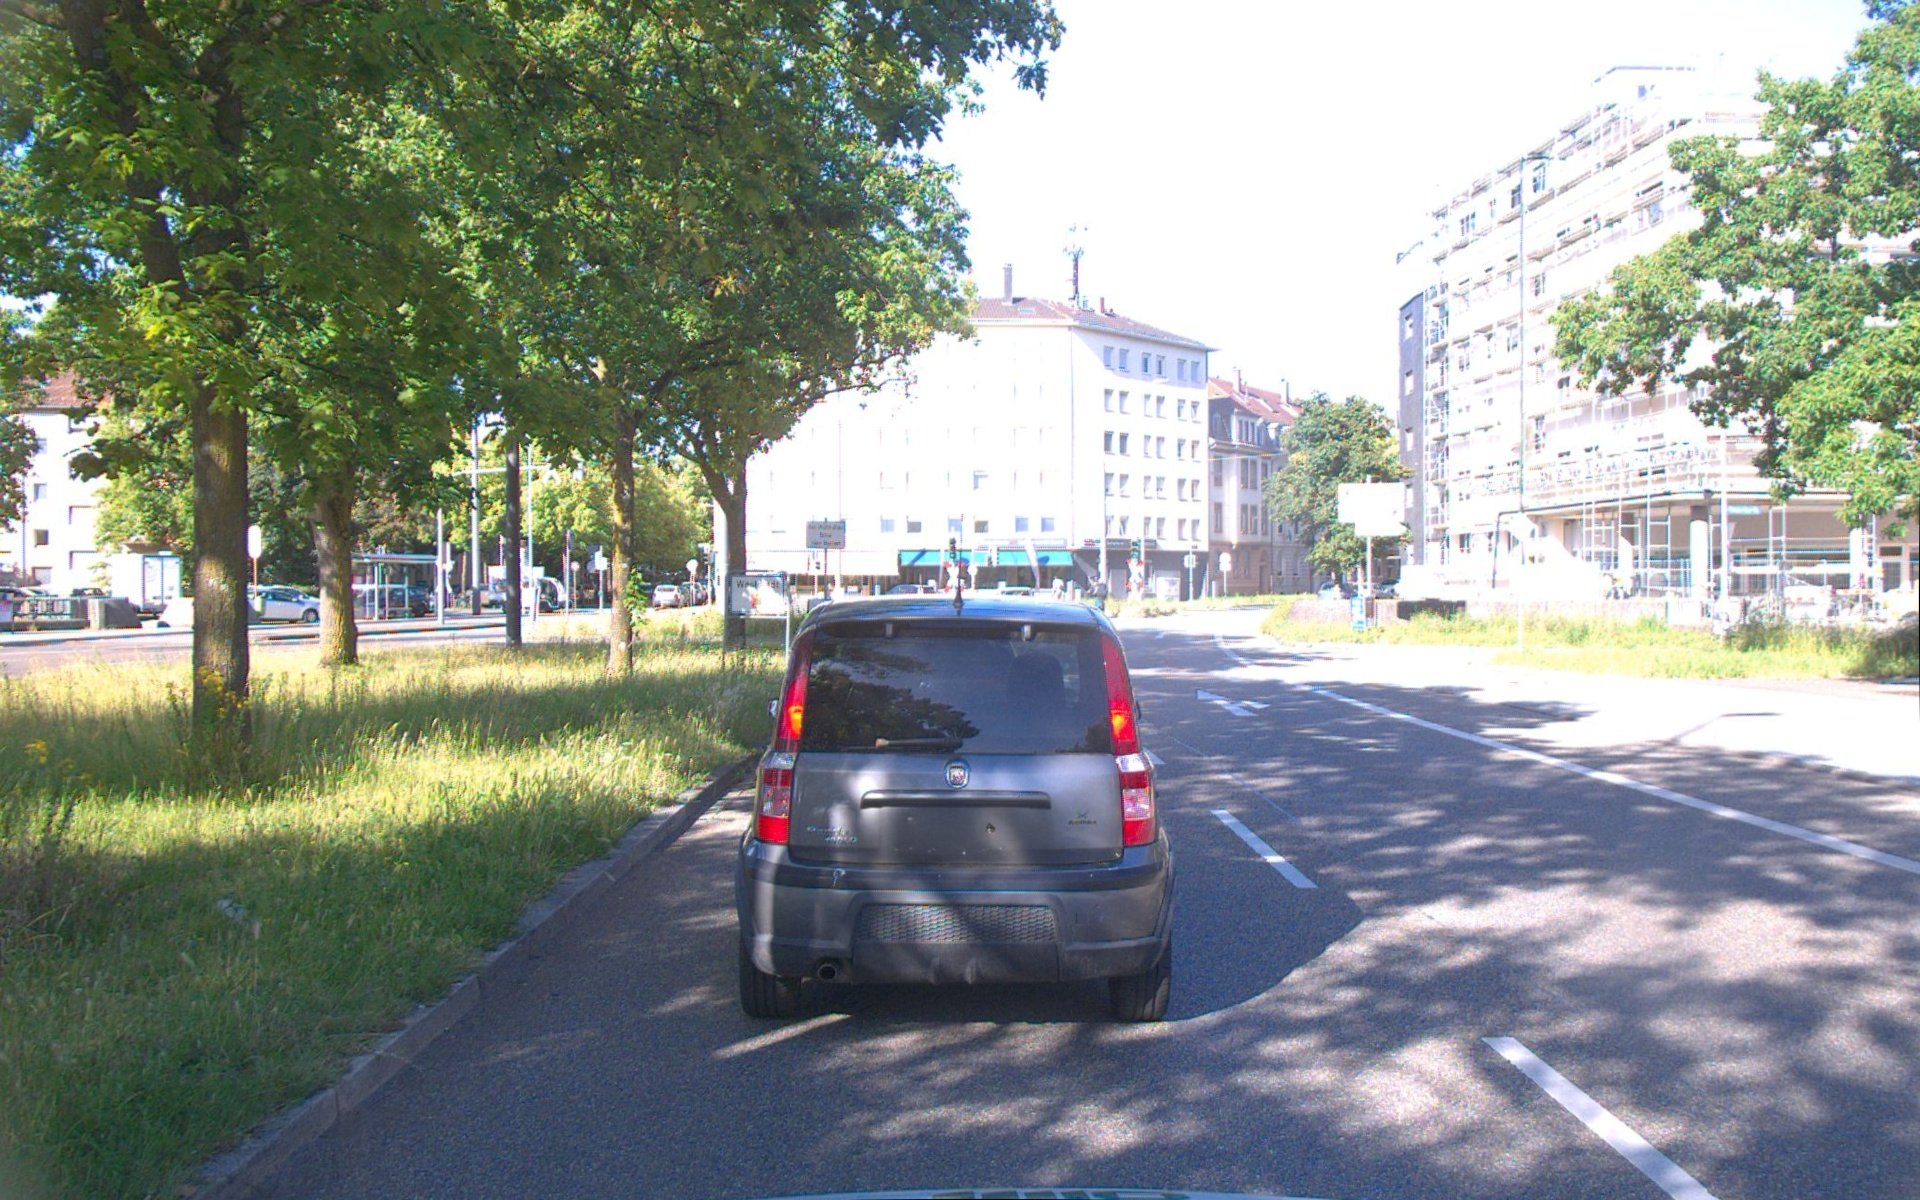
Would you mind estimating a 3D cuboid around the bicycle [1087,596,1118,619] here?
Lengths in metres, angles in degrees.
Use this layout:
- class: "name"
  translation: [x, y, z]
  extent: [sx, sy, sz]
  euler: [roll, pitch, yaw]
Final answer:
- class: "bicycle"
  translation: [6.158, 0.320, 71.464]
  extent: [0.769, 0.968, 1.849]
  euler: [1, 0, -14]

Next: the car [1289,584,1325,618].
- class: "car"
  translation: [21.617, 0.058, 102.913]
  extent: [1.951, 2.049, 4.003]
  euler: [1, 0, 15]

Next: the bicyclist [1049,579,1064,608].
- class: "bicyclist"
  translation: [4.554, -0.297, 77.913]
  extent: [0.522, 1.380, 0.594]
  euler: [0, 0, -19]

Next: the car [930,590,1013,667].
- class: "car"
  translation: [0.253, 0.549, 33.784]
  extent: [1.612, 1.463, 3.396]
  euler: [0, 1, 1]

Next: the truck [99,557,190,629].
- class: "truck"
  translation: [-36.012, -0.358, 72.997]
  extent: [4.742, 3.047, 1.988]
  euler: [1, 1, 42]

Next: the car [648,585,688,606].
- class: "car"
  translation: [-19.013, -0.289, 107.868]
  extent: [1.953, 1.333, 3.999]
  euler: [0, 1, -1]

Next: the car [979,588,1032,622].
- class: "car"
  translation: [1.783, 0.163, 63.967]
  extent: [1.952, 1.264, 4.001]
  euler: [0, 1, 2]

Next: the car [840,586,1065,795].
- class: "car"
  translation: [-0.079, 0.628, 13.576]
  extent: [1.588, 1.454, 3.688]
  euler: [0, 1, -1]

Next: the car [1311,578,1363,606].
- class: "car"
  translation: [20.675, -0.474, 90.690]
  extent: [1.742, 1.468, 3.610]
  euler: [1, 1, 31]

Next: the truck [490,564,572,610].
- class: "truck"
  translation: [-23.266, -0.717, 89.848]
  extent: [4.015, 2.469, 1.793]
  euler: [0, 0, -3]

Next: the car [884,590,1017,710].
- class: "car"
  translation: [-0.187, 0.633, 23.598]
  extent: [1.724, 1.512, 4.292]
  euler: [0, 1, -2]

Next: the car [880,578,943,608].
- class: "car"
  translation: [-2.567, -0.400, 86.548]
  extent: [1.643, 1.527, 3.549]
  euler: [-1, 1, -35]

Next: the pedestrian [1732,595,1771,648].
- class: "pedestrian"
  translation: [23.313, 0.620, 48.721]
  extent: [0.637, 1.523, 0.907]
  euler: [0, 0, -9]

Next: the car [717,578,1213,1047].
- class: "car"
  translation: [0.041, 0.682, 7.074]
  extent: [1.625, 1.536, 3.252]
  euler: [0, 1, 1]

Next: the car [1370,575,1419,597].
- class: "car"
  translation: [31.881, -1.035, 121.496]
  extent: [1.872, 1.621, 3.986]
  euler: [-1, 1, -13]

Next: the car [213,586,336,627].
- class: "car"
  translation: [-29.227, 0.244, 70.609]
  extent: [1.840, 1.570, 4.521]
  euler: [4, 3, 42]

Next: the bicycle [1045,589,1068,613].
- class: "bicycle"
  translation: [4.545, 0.031, 77.927]
  extent: [0.522, 1.109, 1.576]
  euler: [0, 1, -19]

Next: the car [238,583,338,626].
- class: "car"
  translation: [-29.942, 0.163, 73.812]
  extent: [1.724, 1.747, 3.997]
  euler: [3, 3, 26]

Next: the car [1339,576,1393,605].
- class: "car"
  translation: [23.305, -0.556, 94.859]
  extent: [1.787, 1.534, 3.990]
  euler: [0, 1, 32]

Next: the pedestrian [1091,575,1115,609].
- class: "pedestrian"
  translation: [6.164, -0.337, 71.506]
  extent: [0.760, 1.452, 0.935]
  euler: [1, 0, -14]

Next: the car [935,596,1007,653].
- class: "car"
  translation: [0.309, 0.559, 40.126]
  extent: [1.655, 1.275, 3.627]
  euler: [0, 1, 1]
